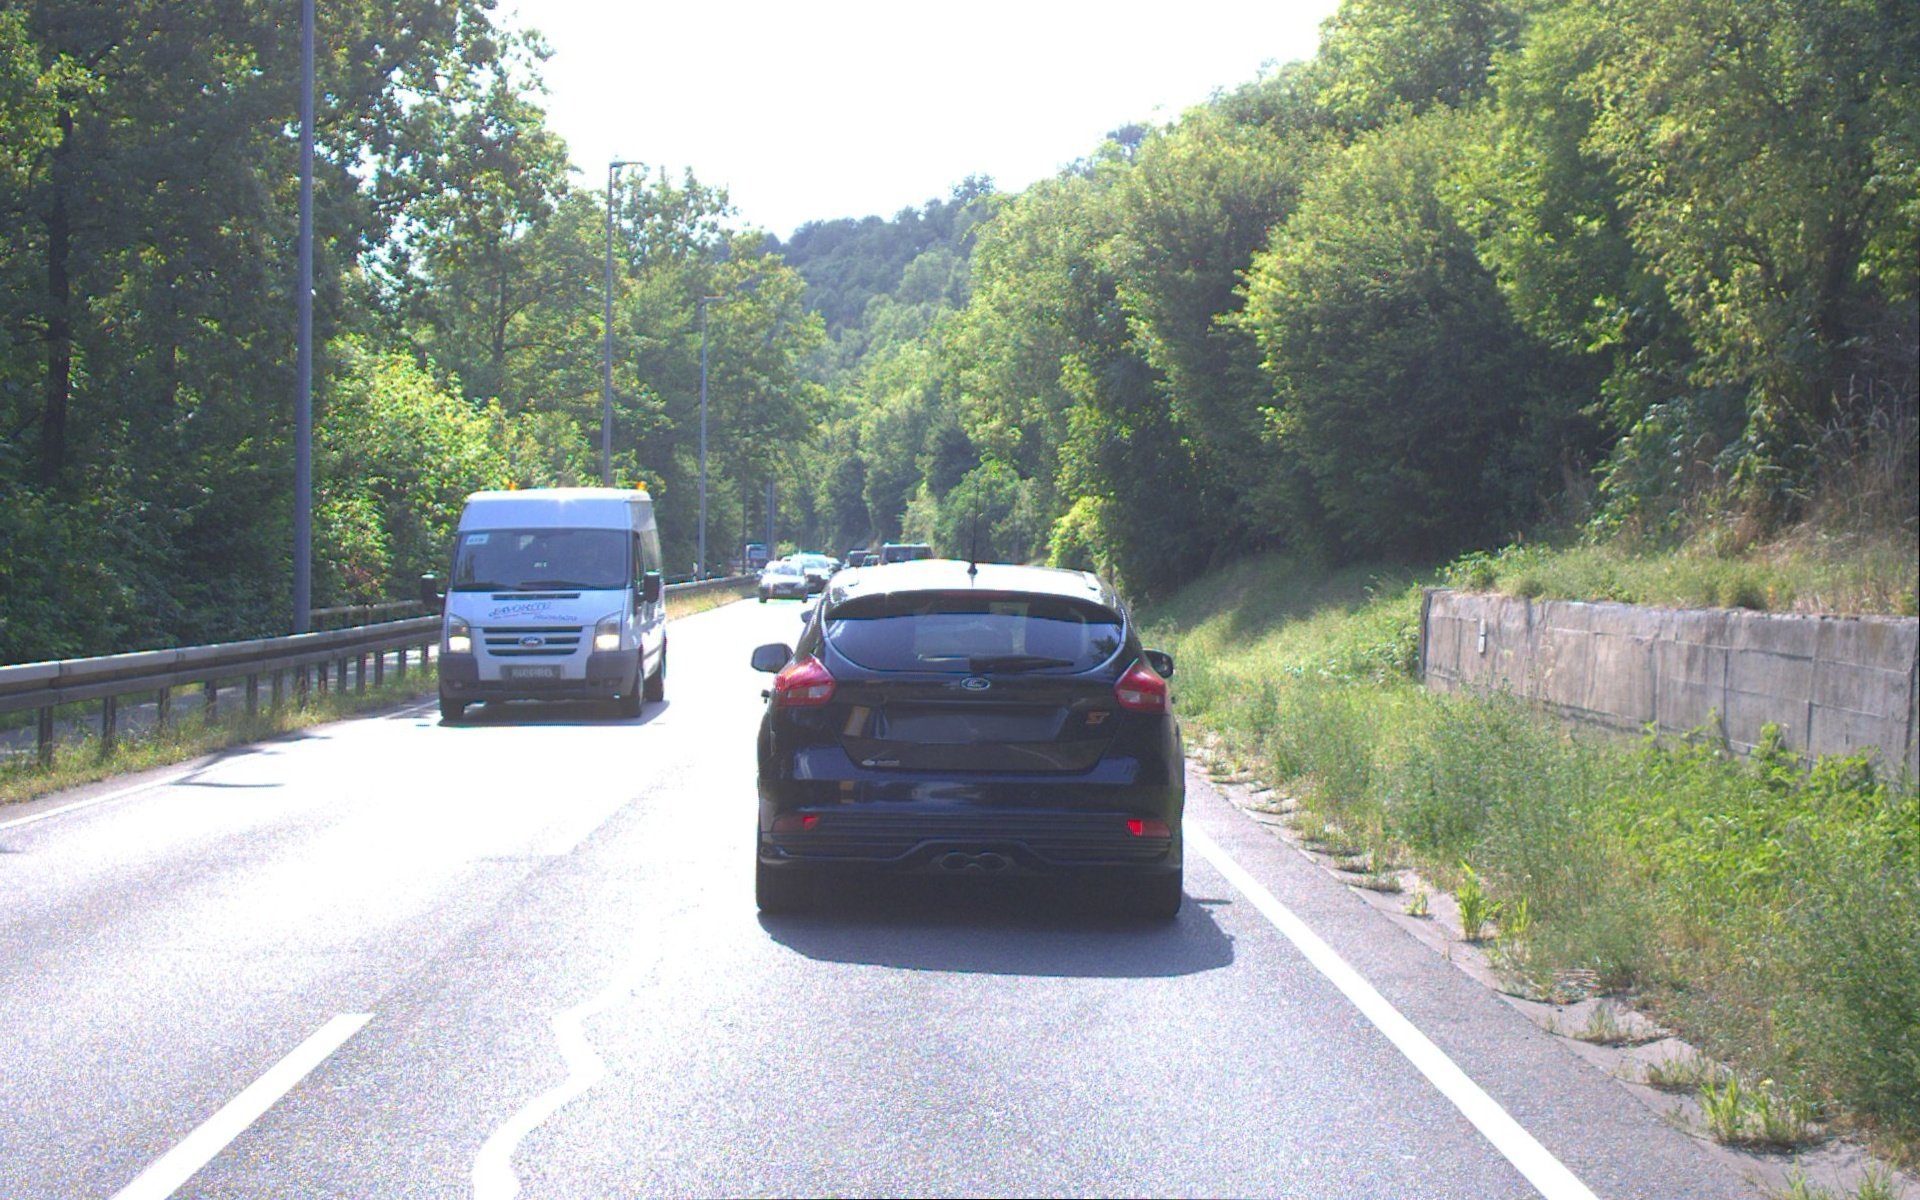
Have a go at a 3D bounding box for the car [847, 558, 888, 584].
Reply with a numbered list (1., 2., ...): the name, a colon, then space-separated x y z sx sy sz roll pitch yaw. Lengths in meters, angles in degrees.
1. car: -5.595 -1.759 207.121 1.993 1.514 4.001 0 1 -8

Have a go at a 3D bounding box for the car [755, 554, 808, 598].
1. car: -6.183 -0.847 119.329 1.681 1.437 4.000 0 1 -1

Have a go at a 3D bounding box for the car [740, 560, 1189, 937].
1. car: -0.008 0.563 15.426 1.739 1.451 4.000 1 0 -1

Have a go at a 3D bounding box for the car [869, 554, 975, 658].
1. car: -0.610 0.058 54.744 1.630 1.590 4.000 0 1 -1

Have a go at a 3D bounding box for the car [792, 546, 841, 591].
1. car: -5.596 -1.228 134.382 1.748 1.712 4.221 0 1 0

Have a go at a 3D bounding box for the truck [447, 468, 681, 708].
1. truck: -4.173 -0.162 37.113 2.057 2.377 5.874 0 1 -2

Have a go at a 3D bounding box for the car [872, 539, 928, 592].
1. car: -2.042 -1.188 117.613 1.863 1.774 4.000 0 1 0

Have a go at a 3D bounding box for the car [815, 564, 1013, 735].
1. car: -0.360 0.395 30.751 1.661 1.413 4.000 0 1 1

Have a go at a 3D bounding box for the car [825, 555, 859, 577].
1. car: -8.332 -2.377 241.838 1.993 1.514 4.001 0 1 -8
